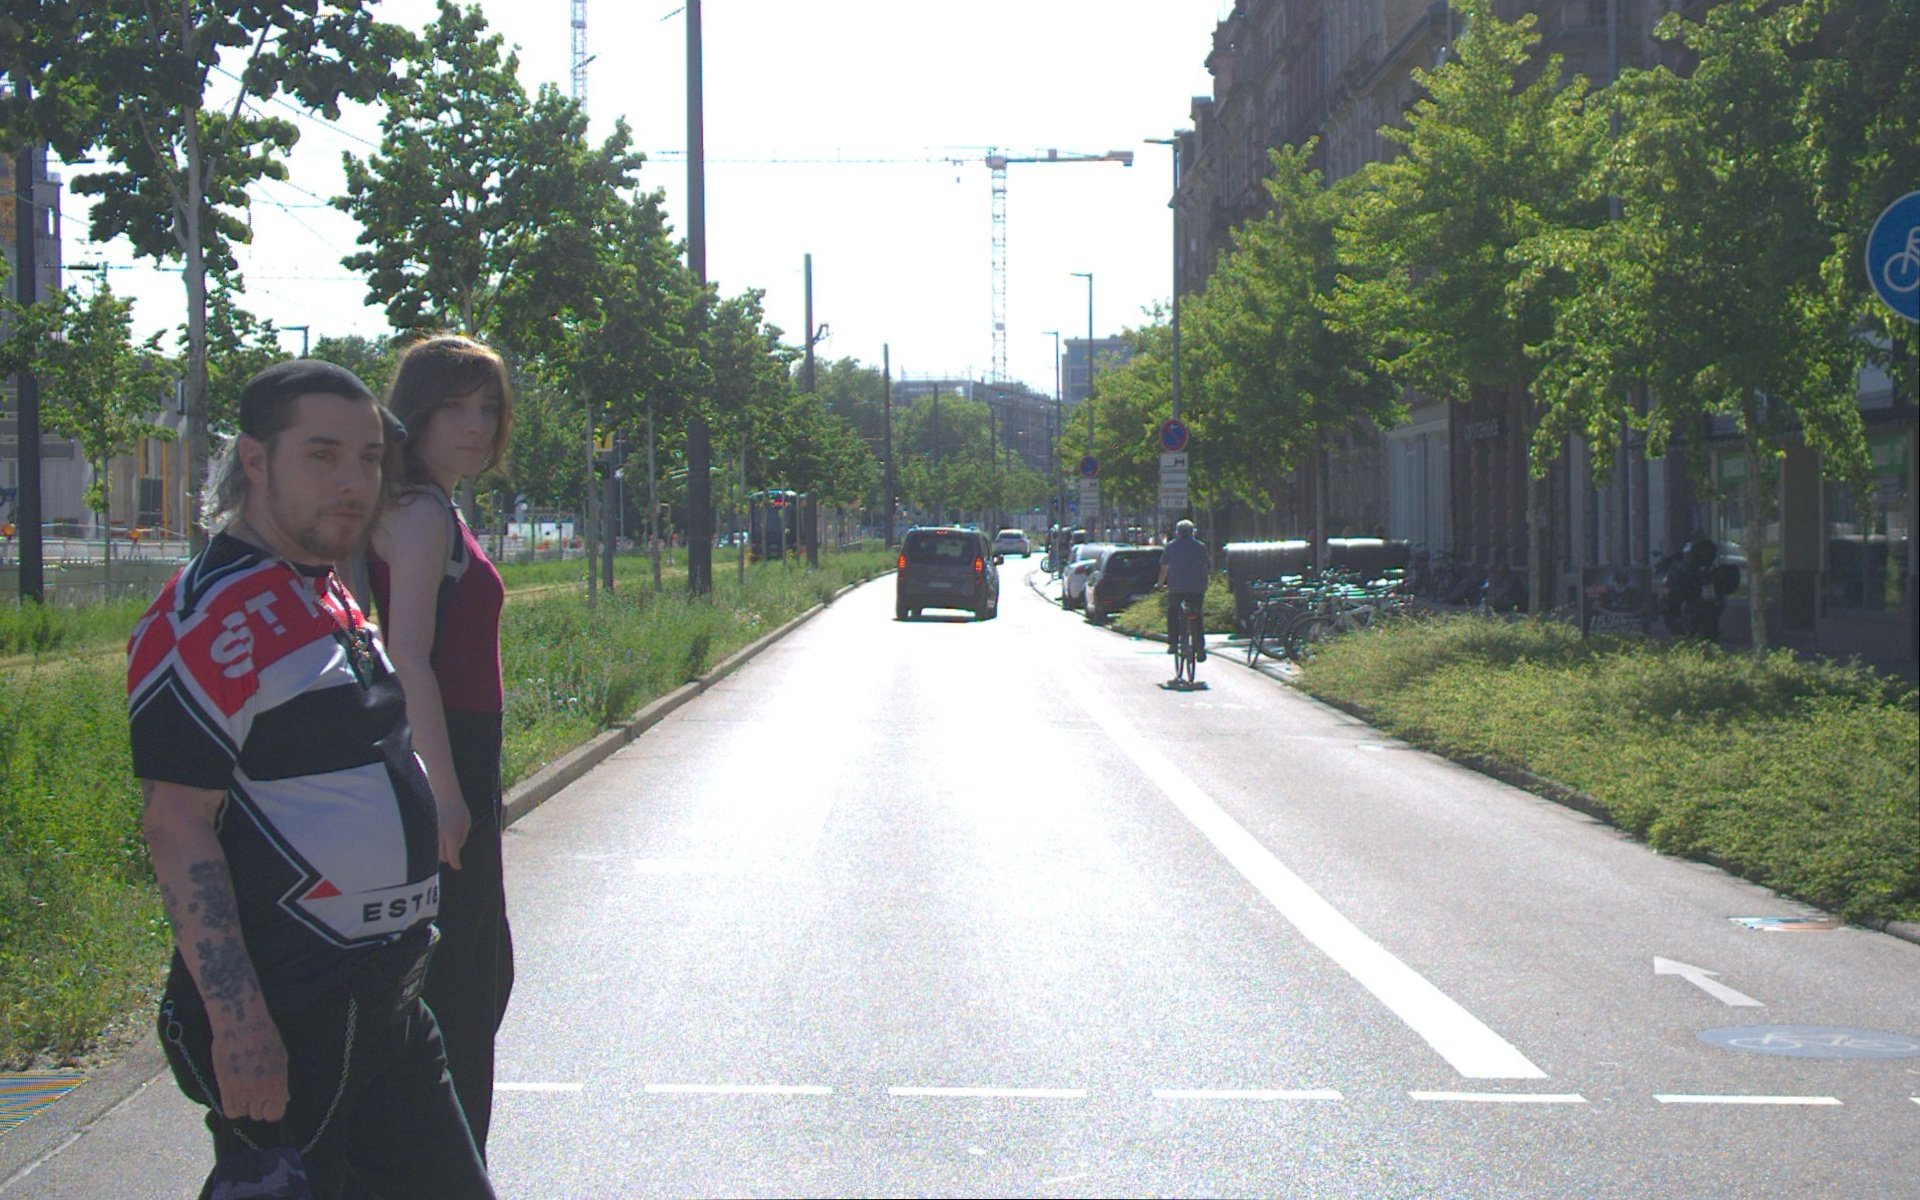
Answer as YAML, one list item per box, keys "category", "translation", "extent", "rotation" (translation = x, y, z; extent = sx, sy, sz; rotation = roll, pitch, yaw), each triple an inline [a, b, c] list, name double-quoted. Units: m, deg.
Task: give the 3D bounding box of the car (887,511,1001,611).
- category: "car"
  translation: [-0.344, -0.794, 69.060]
  extent: [2.200, 1.919, 4.654]
  rotation: [-1, 1, -1]

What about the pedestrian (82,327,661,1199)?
- category: "pedestrian"
  translation: [-1.159, 0.422, 6.914]
  extent: [1.075, 1.902, 0.653]
  rotation: [-1, 1, -7]

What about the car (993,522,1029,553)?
- category: "car"
  translation: [2.955, -3.646, 200.430]
  extent: [1.993, 1.723, 4.000]
  rotation: [1, 0, -1]

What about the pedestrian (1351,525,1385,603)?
- category: "pedestrian"
  translation: [8.405, -0.747, 70.833]
  extent: [0.614, 1.606, 0.669]
  rotation: [-1, 1, -1]

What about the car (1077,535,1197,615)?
- category: "car"
  translation: [3.430, -0.509, 67.398]
  extent: [2.028, 1.493, 4.654]
  rotation: [-1, 1, -1]

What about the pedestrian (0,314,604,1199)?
- category: "pedestrian"
  translation: [-0.924, 0.546, 4.575]
  extent: [0.865, 1.782, 0.971]
  rotation: [1, 1, -7]

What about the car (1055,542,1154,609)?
- category: "car"
  translation: [3.327, -0.589, 79.770]
  extent: [2.028, 1.493, 4.530]
  rotation: [-1, 1, -1]

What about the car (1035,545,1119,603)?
- category: "car"
  translation: [3.118, -0.723, 92.298]
  extent: [2.028, 1.493, 4.530]
  rotation: [-1, 1, -1]

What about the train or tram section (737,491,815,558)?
- category: "train or tram section"
  translation: [-7.912, -3.220, 148.953]
  extent: [2.756, 2.733, 9.864]
  rotation: [1, 1, 0]

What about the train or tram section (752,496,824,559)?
- category: "train or tram section"
  translation: [-7.883, -3.309, 158.801]
  extent: [2.756, 2.733, 9.864]
  rotation: [1, 1, 0]

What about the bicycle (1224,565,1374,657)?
- category: "bicycle"
  translation: [4.330, 0.134, 43.962]
  extent: [1.792, 1.027, 0.527]
  rotation: [-5, 1, 0]

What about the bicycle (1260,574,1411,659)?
- category: "bicycle"
  translation: [4.633, 0.201, 42.458]
  extent: [1.792, 1.027, 0.527]
  rotation: [-1, 1, 0]

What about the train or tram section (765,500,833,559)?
- category: "train or tram section"
  translation: [-7.835, -3.398, 168.625]
  extent: [2.756, 2.733, 9.864]
  rotation: [1, 1, 0]

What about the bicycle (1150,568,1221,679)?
- category: "bicycle"
  translation: [2.524, 0.254, 38.607]
  extent: [0.601, 1.177, 1.869]
  rotation: [2, 1, -1]

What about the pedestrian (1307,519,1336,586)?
- category: "pedestrian"
  translation: [8.760, -1.163, 83.228]
  extent: [0.614, 1.606, 0.669]
  rotation: [-1, 1, -1]

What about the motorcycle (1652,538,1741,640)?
- category: "motorcycle"
  translation: [9.447, -0.155, 44.155]
  extent: [0.700, 1.263, 1.982]
  rotation: [-1, 1, -1]

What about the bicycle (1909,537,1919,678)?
- category: "bicycle"
  translation: [9.271, 0.076, 31.399]
  extent: [0.615, 1.326, 1.900]
  rotation: [-4, 1, 1]

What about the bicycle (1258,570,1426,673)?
- category: "bicycle"
  translation: [4.381, 0.246, 39.498]
  extent: [1.792, 1.027, 0.527]
  rotation: [-5, 1, 0]

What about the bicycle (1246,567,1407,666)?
- category: "bicycle"
  translation: [4.357, 0.190, 40.935]
  extent: [1.792, 1.027, 0.527]
  rotation: [-5, 1, 0]

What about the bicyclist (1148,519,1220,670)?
- category: "bicyclist"
  translation: [2.521, -0.070, 38.801]
  extent: [0.684, 1.667, 0.922]
  rotation: [2, 1, -1]
